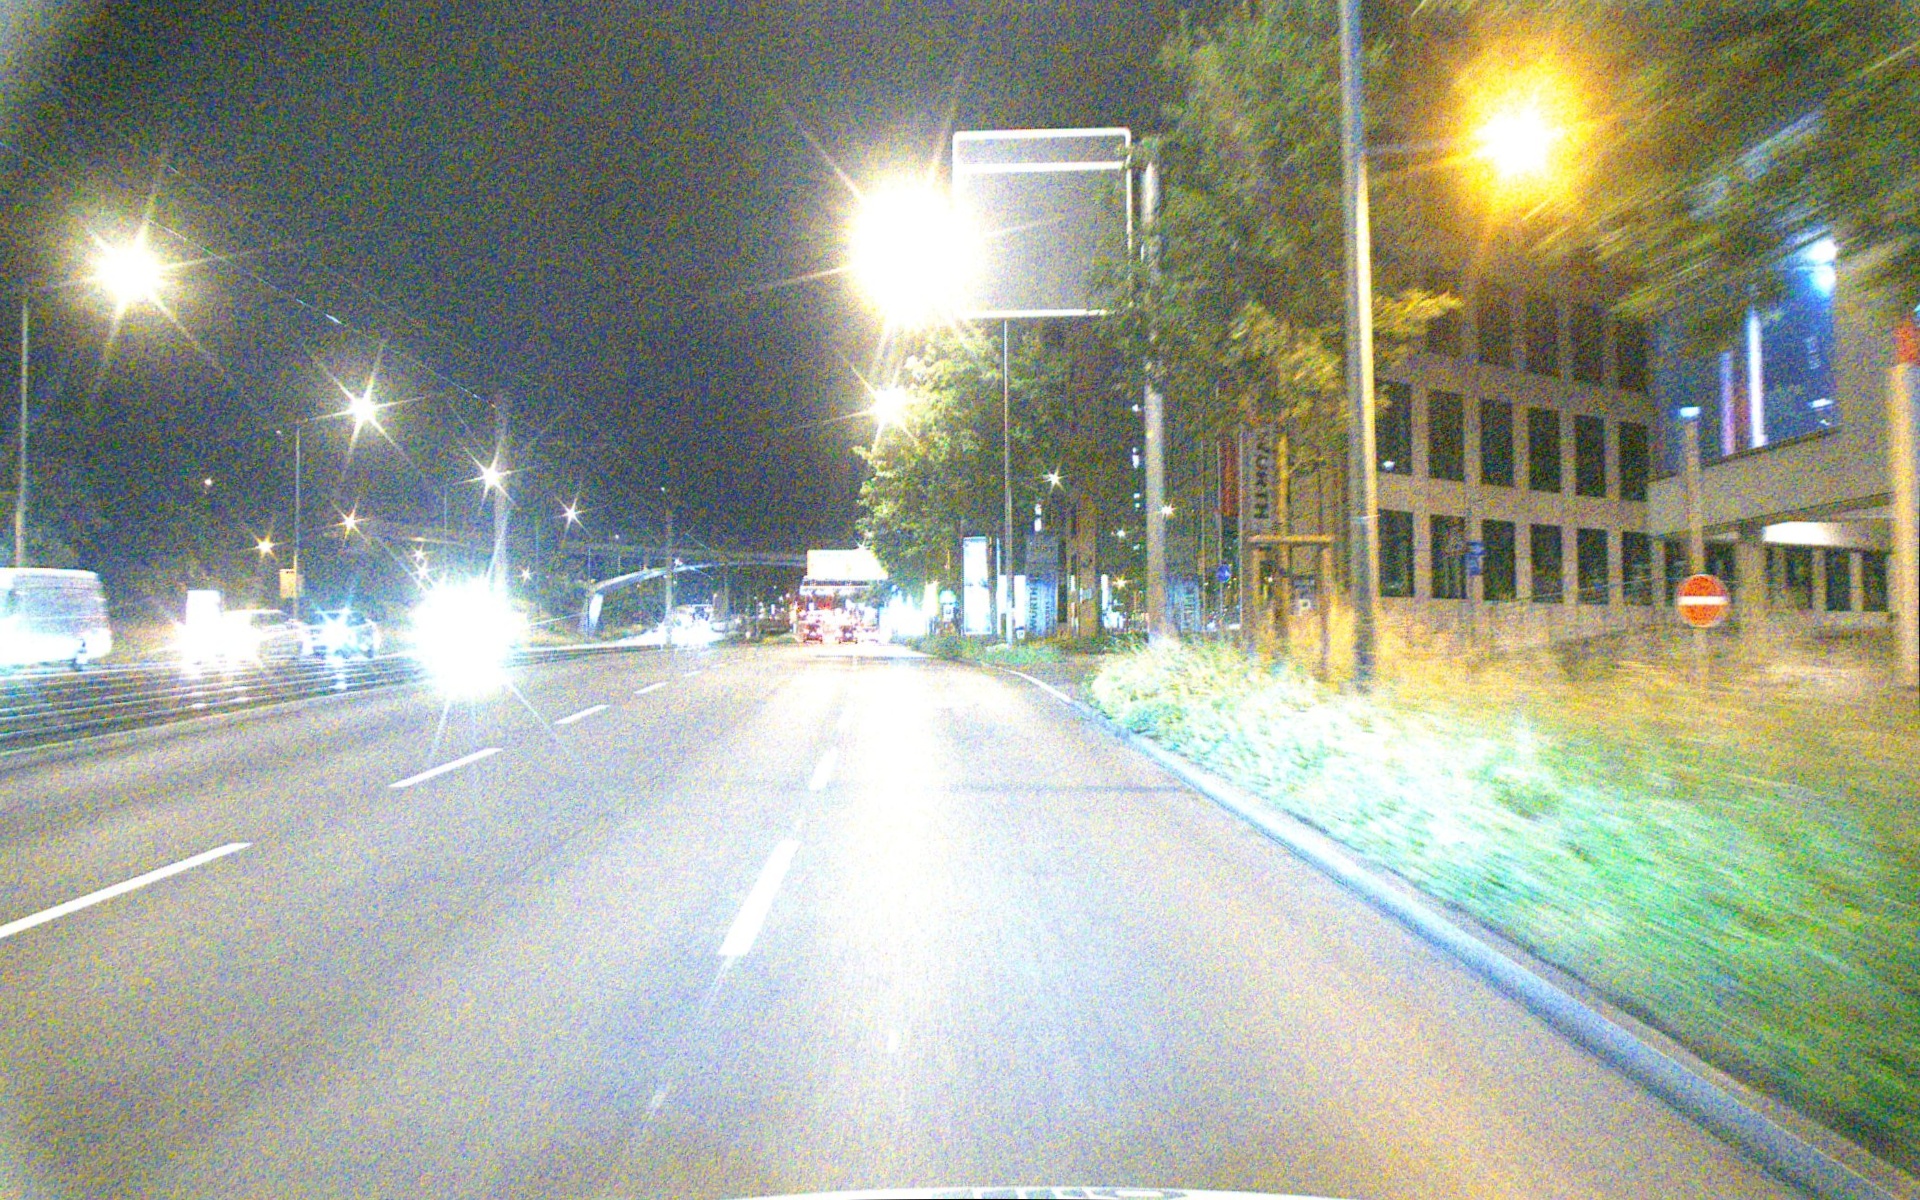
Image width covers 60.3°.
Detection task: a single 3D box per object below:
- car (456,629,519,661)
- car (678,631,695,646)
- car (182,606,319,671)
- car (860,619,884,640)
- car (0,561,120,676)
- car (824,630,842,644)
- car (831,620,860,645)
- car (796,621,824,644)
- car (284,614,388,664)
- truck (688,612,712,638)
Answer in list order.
[{"bbox_3d":[-22.557,2.134,79.121,1.829,1.454,4.953,1,-1,-3],"label":"car"},{"bbox_3d":[-34.236,4.835,207.199,1.827,1.781,3.698,0,-1,-4],"label":"car"},{"bbox_3d":[-17.457,0.921,40.907,1.587,1.465,4.336,-2,0,-1],"label":"car"},{"bbox_3d":[-9.208,3.105,173.567,2.378,2.150,4.825,0,-1,-1],"label":"car"},{"bbox_3d":[-23.883,0.529,41.685,2.103,2.718,6.957,-3,-1,-3],"label":"car"},{"bbox_3d":[-14.459,4.170,188.567,1.954,1.580,3.997,0,-1,-4],"label":"car"},{"bbox_3d":[-10.203,2.887,147.864,2.308,2.166,4.825,0,-1,-1],"label":"car"},{"bbox_3d":[-13.780,2.950,151.953,2.216,2.049,4.825,0,-1,-1],"label":"car"},{"bbox_3d":[-21.111,1.285,56.150,1.824,1.540,4.612,-2,0,-2],"label":"car"},{"bbox_3d":[-38.582,3.697,245.598,2.980,3.886,4.931,0,-1,-3],"label":"truck"}]
